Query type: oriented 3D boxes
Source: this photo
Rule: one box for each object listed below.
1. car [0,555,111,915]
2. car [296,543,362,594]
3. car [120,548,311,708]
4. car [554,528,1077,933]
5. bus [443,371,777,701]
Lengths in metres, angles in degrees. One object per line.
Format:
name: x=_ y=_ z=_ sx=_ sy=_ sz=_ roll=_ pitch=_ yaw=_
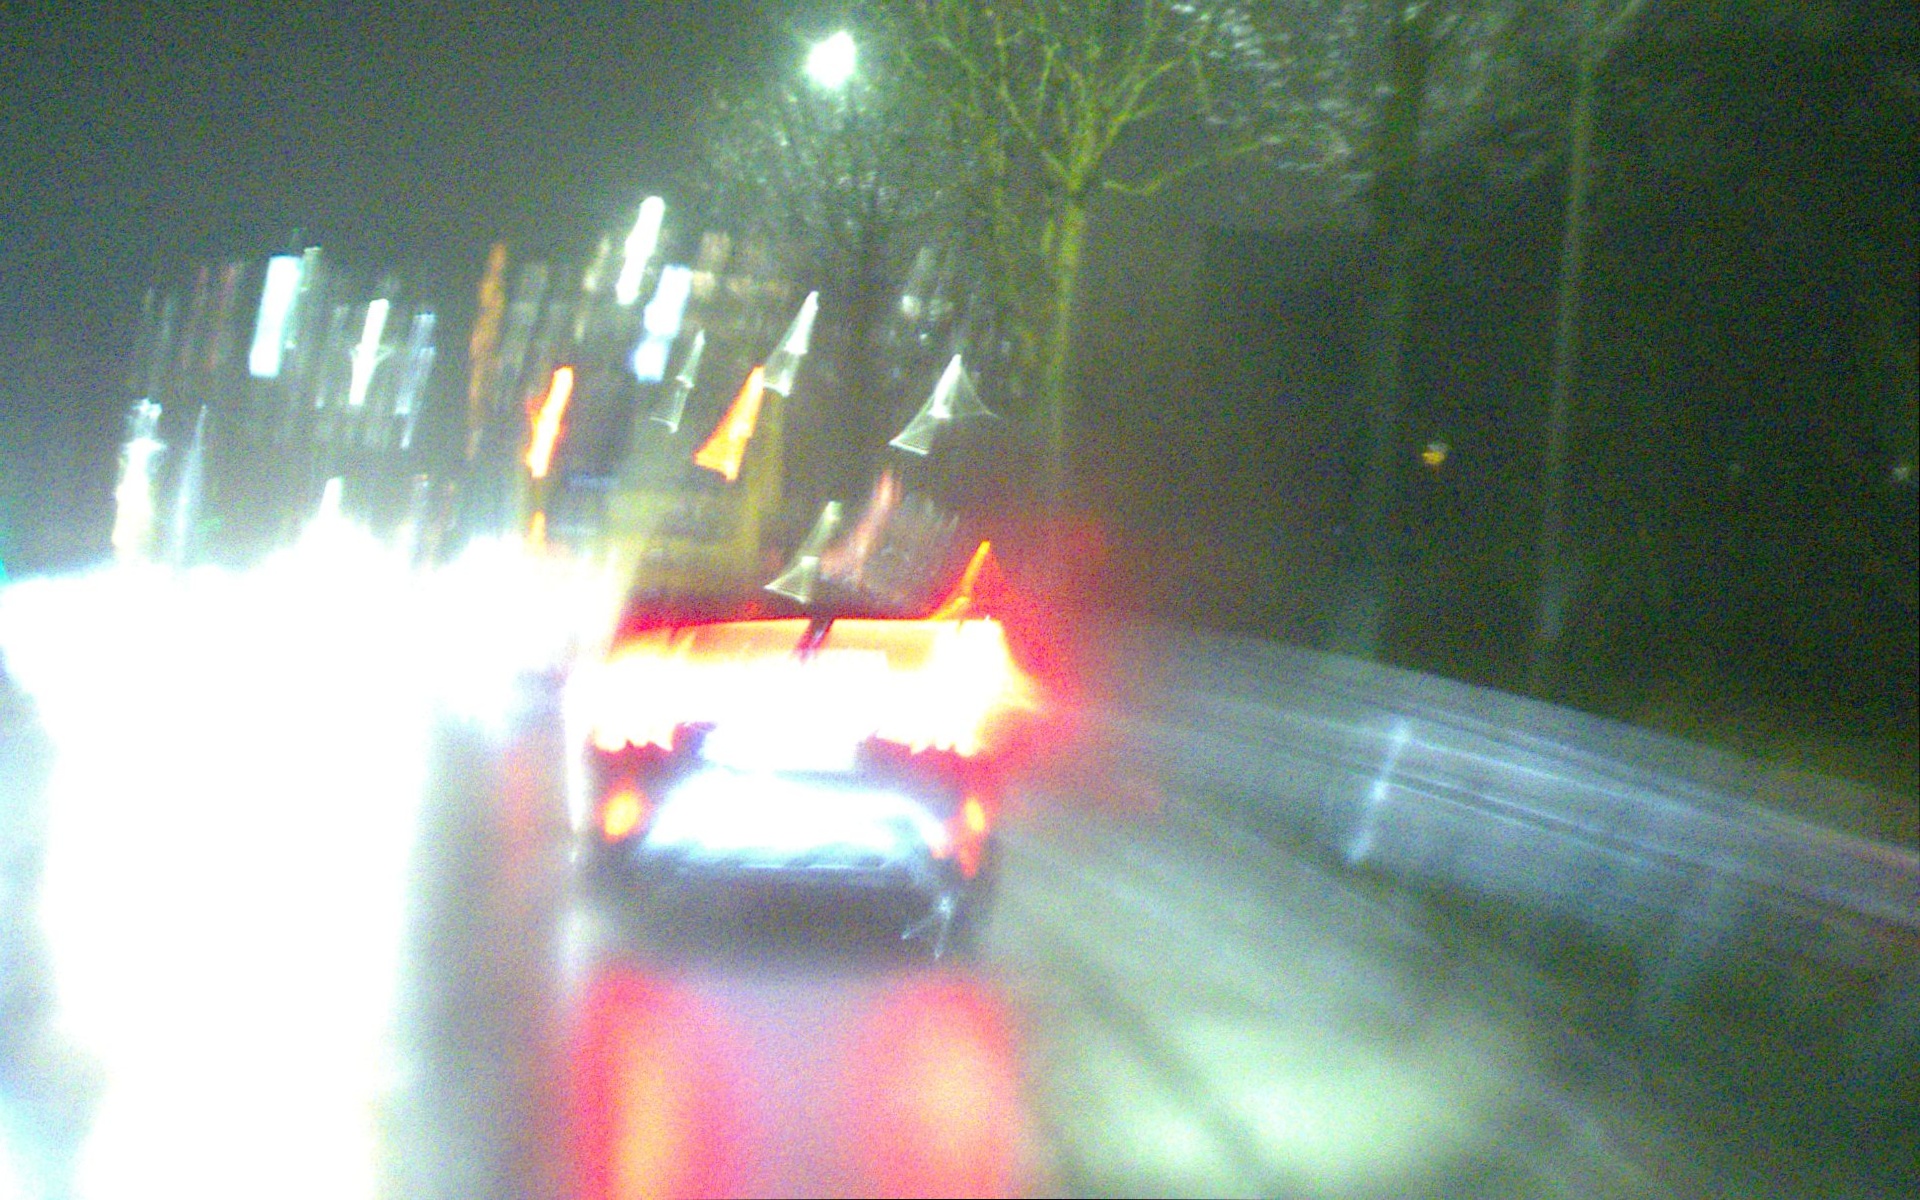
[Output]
car: x=-4.608 y=0.521 z=13.412 sx=1.792 sy=1.387 sz=4.592 roll=0 pitch=0 yaw=-4
car: x=-19.267 y=-0.975 z=104.901 sx=1.823 sy=1.398 sz=4.037 roll=3 pitch=1 yaw=-12
car: x=-7.103 y=0.225 z=33.056 sx=1.664 sy=1.427 sz=3.820 roll=1 pitch=1 yaw=-11
car: x=-0.595 y=0.467 z=15.350 sx=1.993 sy=1.519 sz=4.000 roll=1 pitch=1 yaw=-1
bus: x=-4.083 y=-0.686 z=38.137 sx=3.042 sy=3.201 sz=9.053 roll=0 pitch=1 yaw=-10
